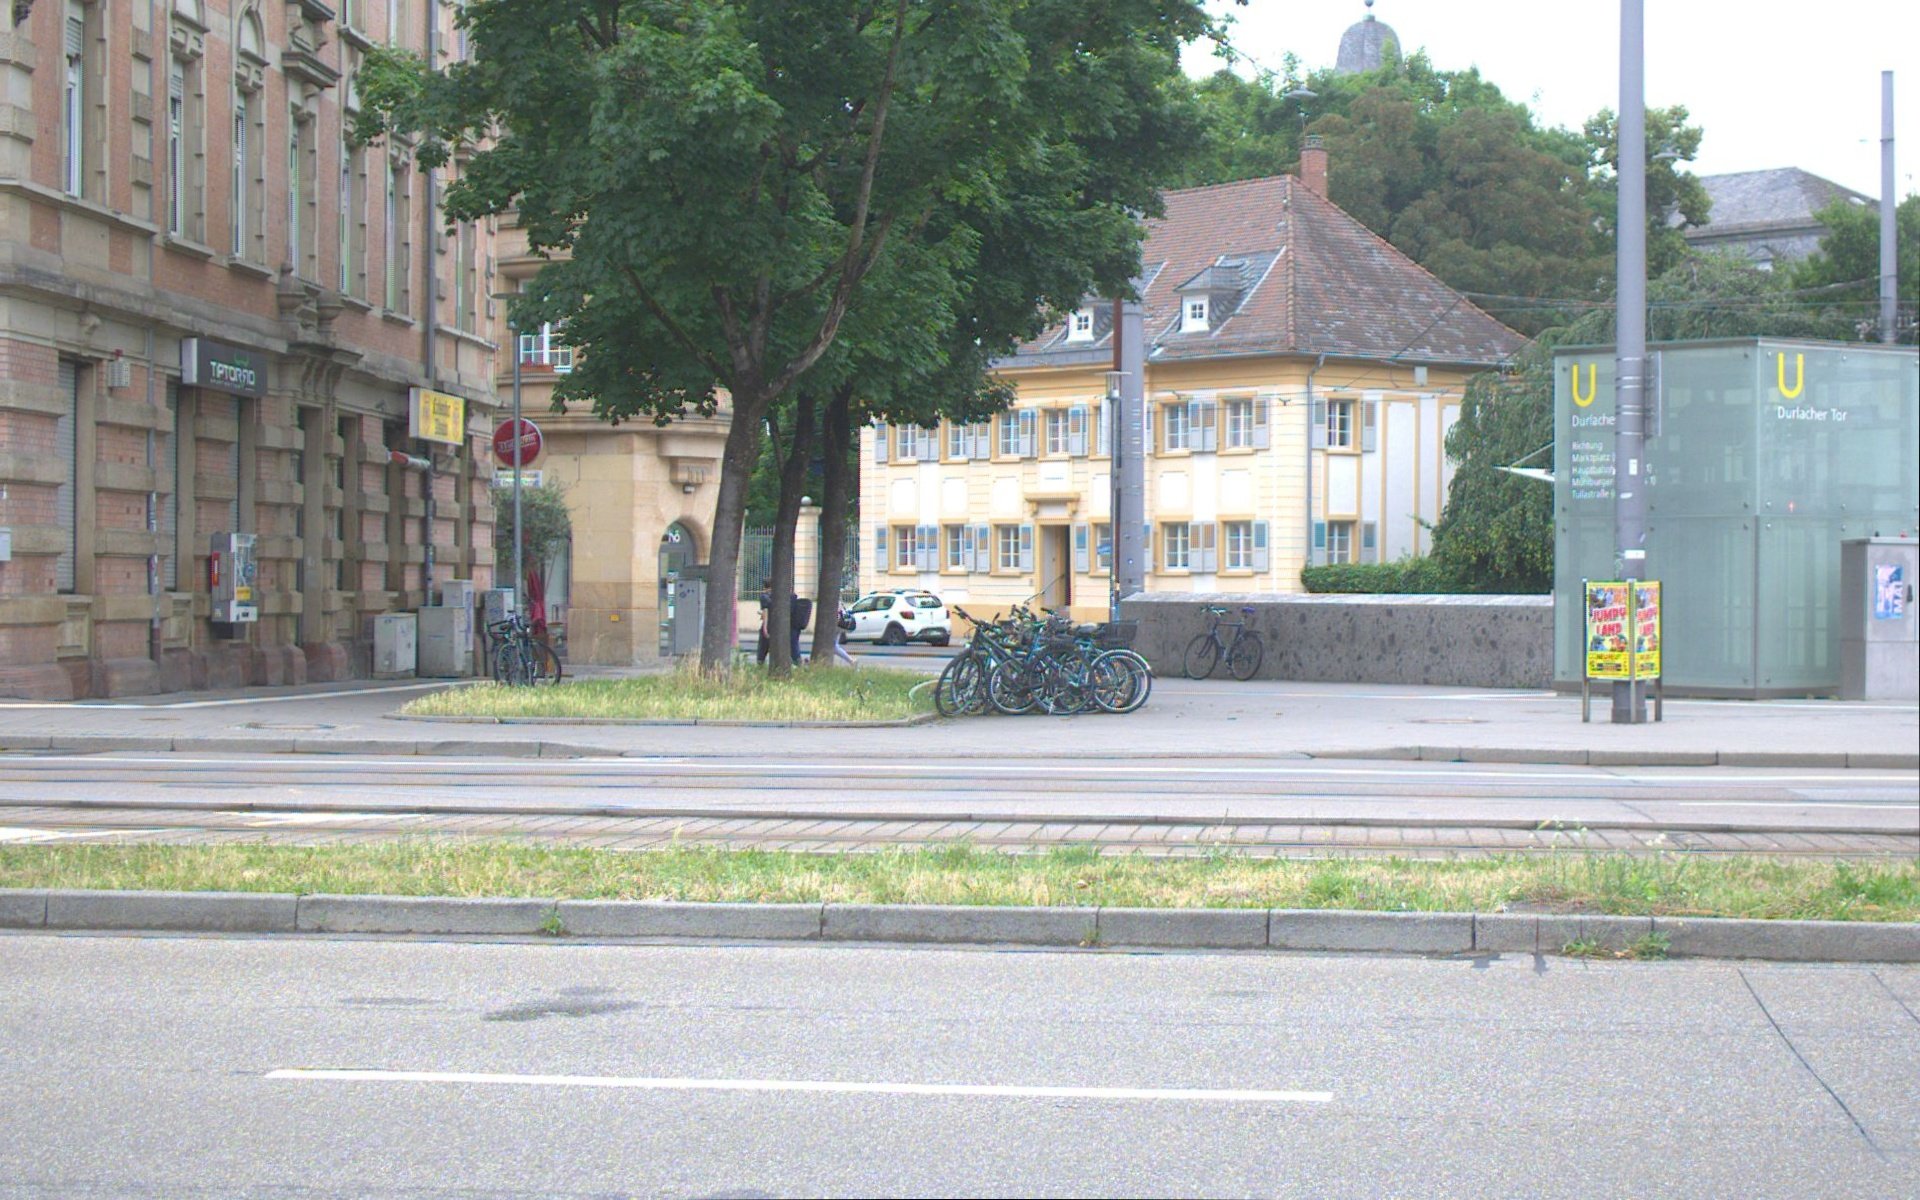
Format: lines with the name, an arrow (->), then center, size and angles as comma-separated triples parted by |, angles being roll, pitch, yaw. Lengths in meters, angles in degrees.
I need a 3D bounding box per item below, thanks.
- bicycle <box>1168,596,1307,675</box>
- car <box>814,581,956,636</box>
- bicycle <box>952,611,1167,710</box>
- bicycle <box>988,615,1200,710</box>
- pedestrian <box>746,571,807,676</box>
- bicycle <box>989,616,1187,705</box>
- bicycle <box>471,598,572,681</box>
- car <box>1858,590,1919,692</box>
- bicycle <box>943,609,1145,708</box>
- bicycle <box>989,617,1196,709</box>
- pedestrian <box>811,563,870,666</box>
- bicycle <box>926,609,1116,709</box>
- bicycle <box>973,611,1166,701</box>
bicycle -> 4.056, 0.510, 50.465 | 0.738, 1.111, 2.363 | 0, 1, -33
car -> -2.077, 0.212, 94.076 | 1.692, 1.444, 4.186 | 0, 1, -39
bicycle -> 1.048, 0.635, 36.237 | 2.215, 1.002, 0.480 | 0, 1, 14
bicycle -> 1.435, 0.663, 36.941 | 2.215, 0.983, 0.500 | 0, 1, 14
pedestrian -> -3.028, 0.385, 56.832 | 0.844, 1.716, 0.952 | 0, 1, 8
bicycle -> 1.482, 0.695, 39.868 | 2.215, 0.983, 0.585 | 0, 1, 14
bicycle -> -5.103, 0.448, 40.129 | 0.660, 0.911, 1.989 | 0, 1, 8
car -> 14.864, 0.601, 48.697 | 1.691, 1.444, 4.143 | 0, 1, -30
bicycle -> 0.872, 0.600, 35.698 | 2.032, 0.983, 0.521 | 0, 1, 14
bicycle -> 1.476, 0.690, 38.215 | 2.215, 0.983, 0.610 | 0, 1, 14
pedestrian -> -2.011, 0.234, 58.141 | 0.844, 1.716, 0.952 | 0, 1, 8
bicycle -> 0.622, 0.592, 34.979 | 1.864, 0.983, 0.500 | 0, 0, 13
bicycle -> 1.314, 0.665, 41.144 | 2.215, 1.035, 0.688 | 0, 1, 14
